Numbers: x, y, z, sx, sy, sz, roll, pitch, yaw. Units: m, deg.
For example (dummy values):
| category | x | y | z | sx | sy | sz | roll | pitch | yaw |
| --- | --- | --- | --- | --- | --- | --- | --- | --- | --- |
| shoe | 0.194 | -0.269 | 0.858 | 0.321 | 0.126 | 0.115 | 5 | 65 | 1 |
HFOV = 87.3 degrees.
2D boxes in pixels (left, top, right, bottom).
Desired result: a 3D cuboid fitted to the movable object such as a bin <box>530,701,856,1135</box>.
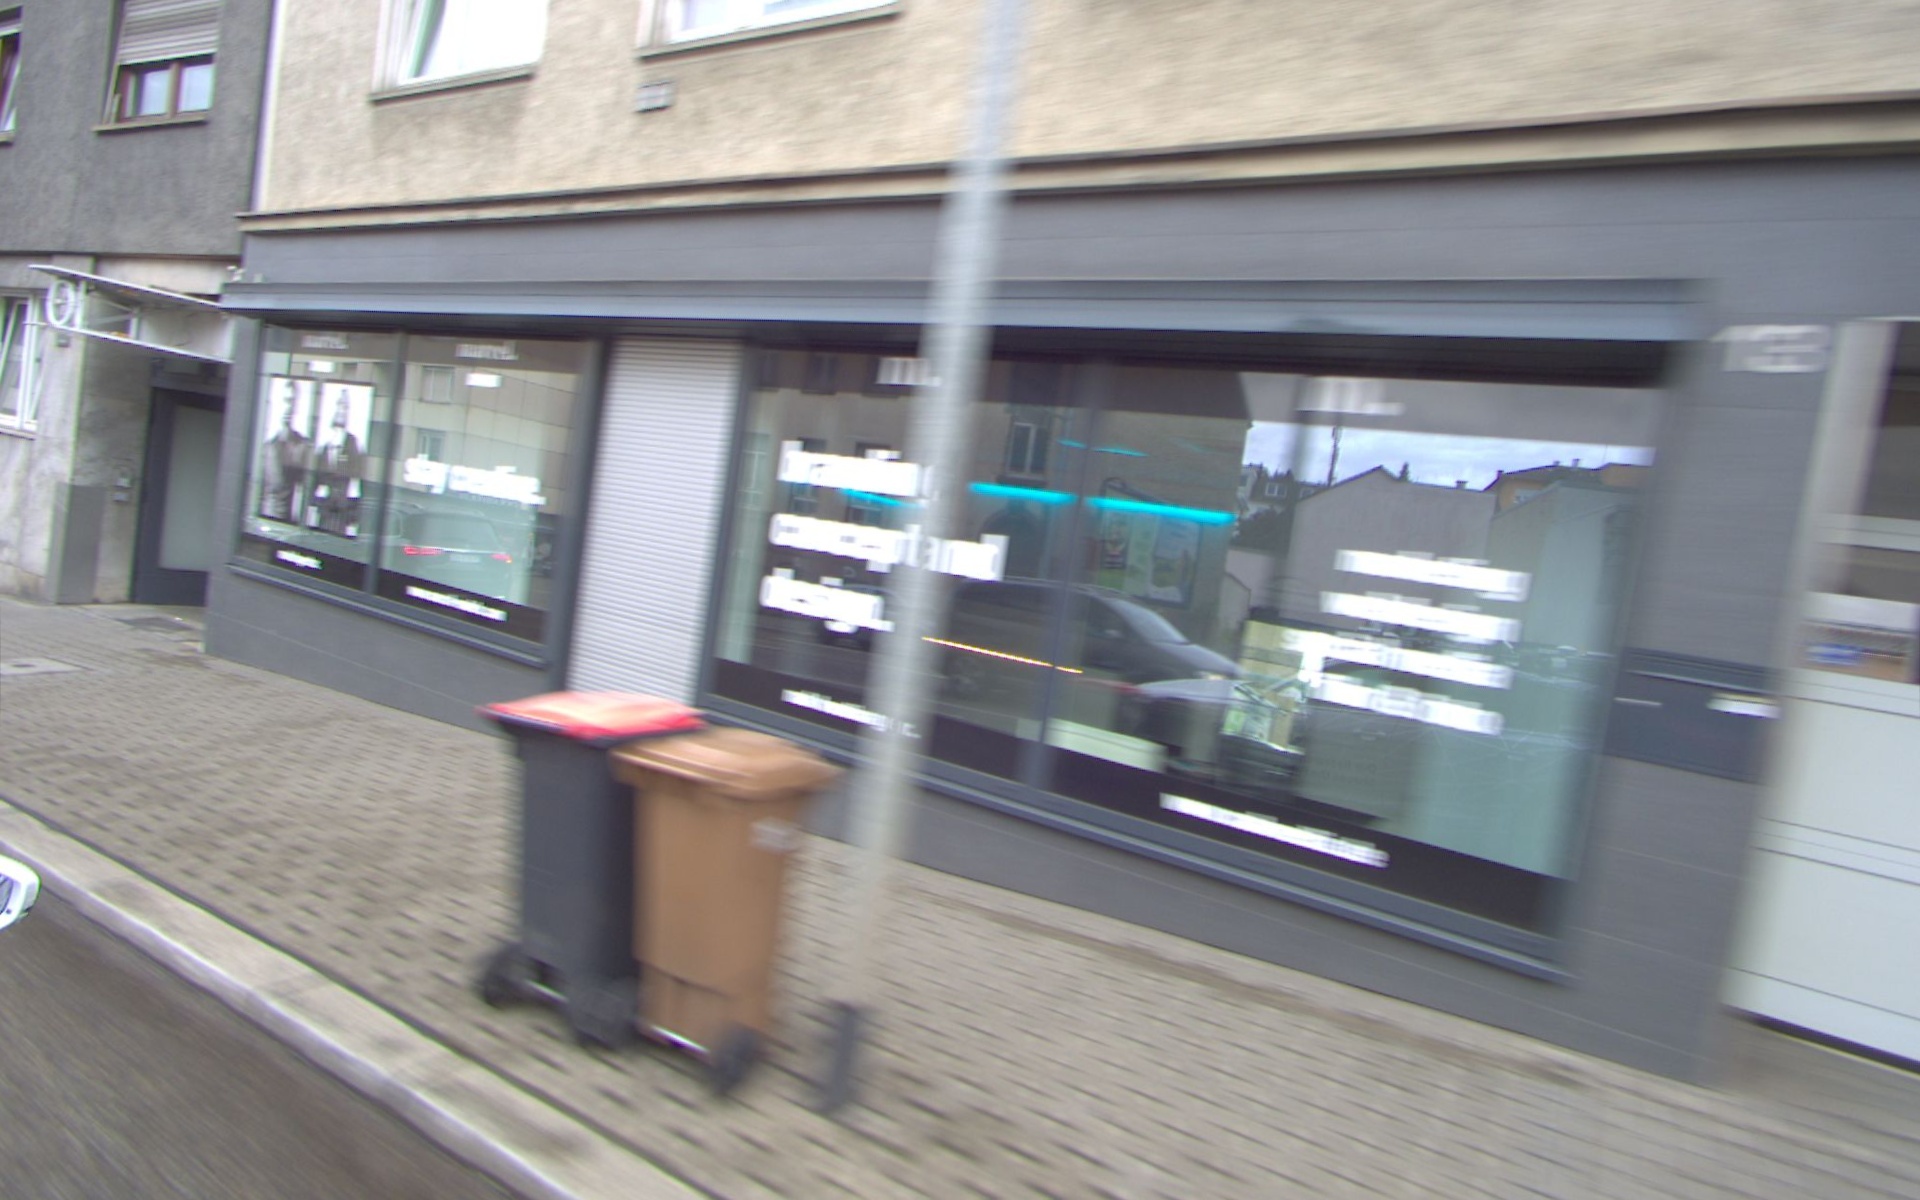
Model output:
| category | x | y | z | sx | sy | sz | roll | pitch | yaw |
| --- | --- | --- | --- | --- | --- | --- | --- | --- | --- |
| movable object such as a bin | -0.739 | 0.815 | 2.808 | 0.528 | 0.962 | 0.525 | 12 | 3 | 34 |

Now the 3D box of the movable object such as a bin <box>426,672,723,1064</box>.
| category | x | y | z | sx | sy | sz | roll | pitch | yaw |
| --- | --- | --- | --- | --- | --- | --- | --- | --- | --- |
| movable object such as a bin | -1.192 | 0.772 | 3.128 | 0.528 | 0.993 | 0.525 | 12 | 3 | 34 |
